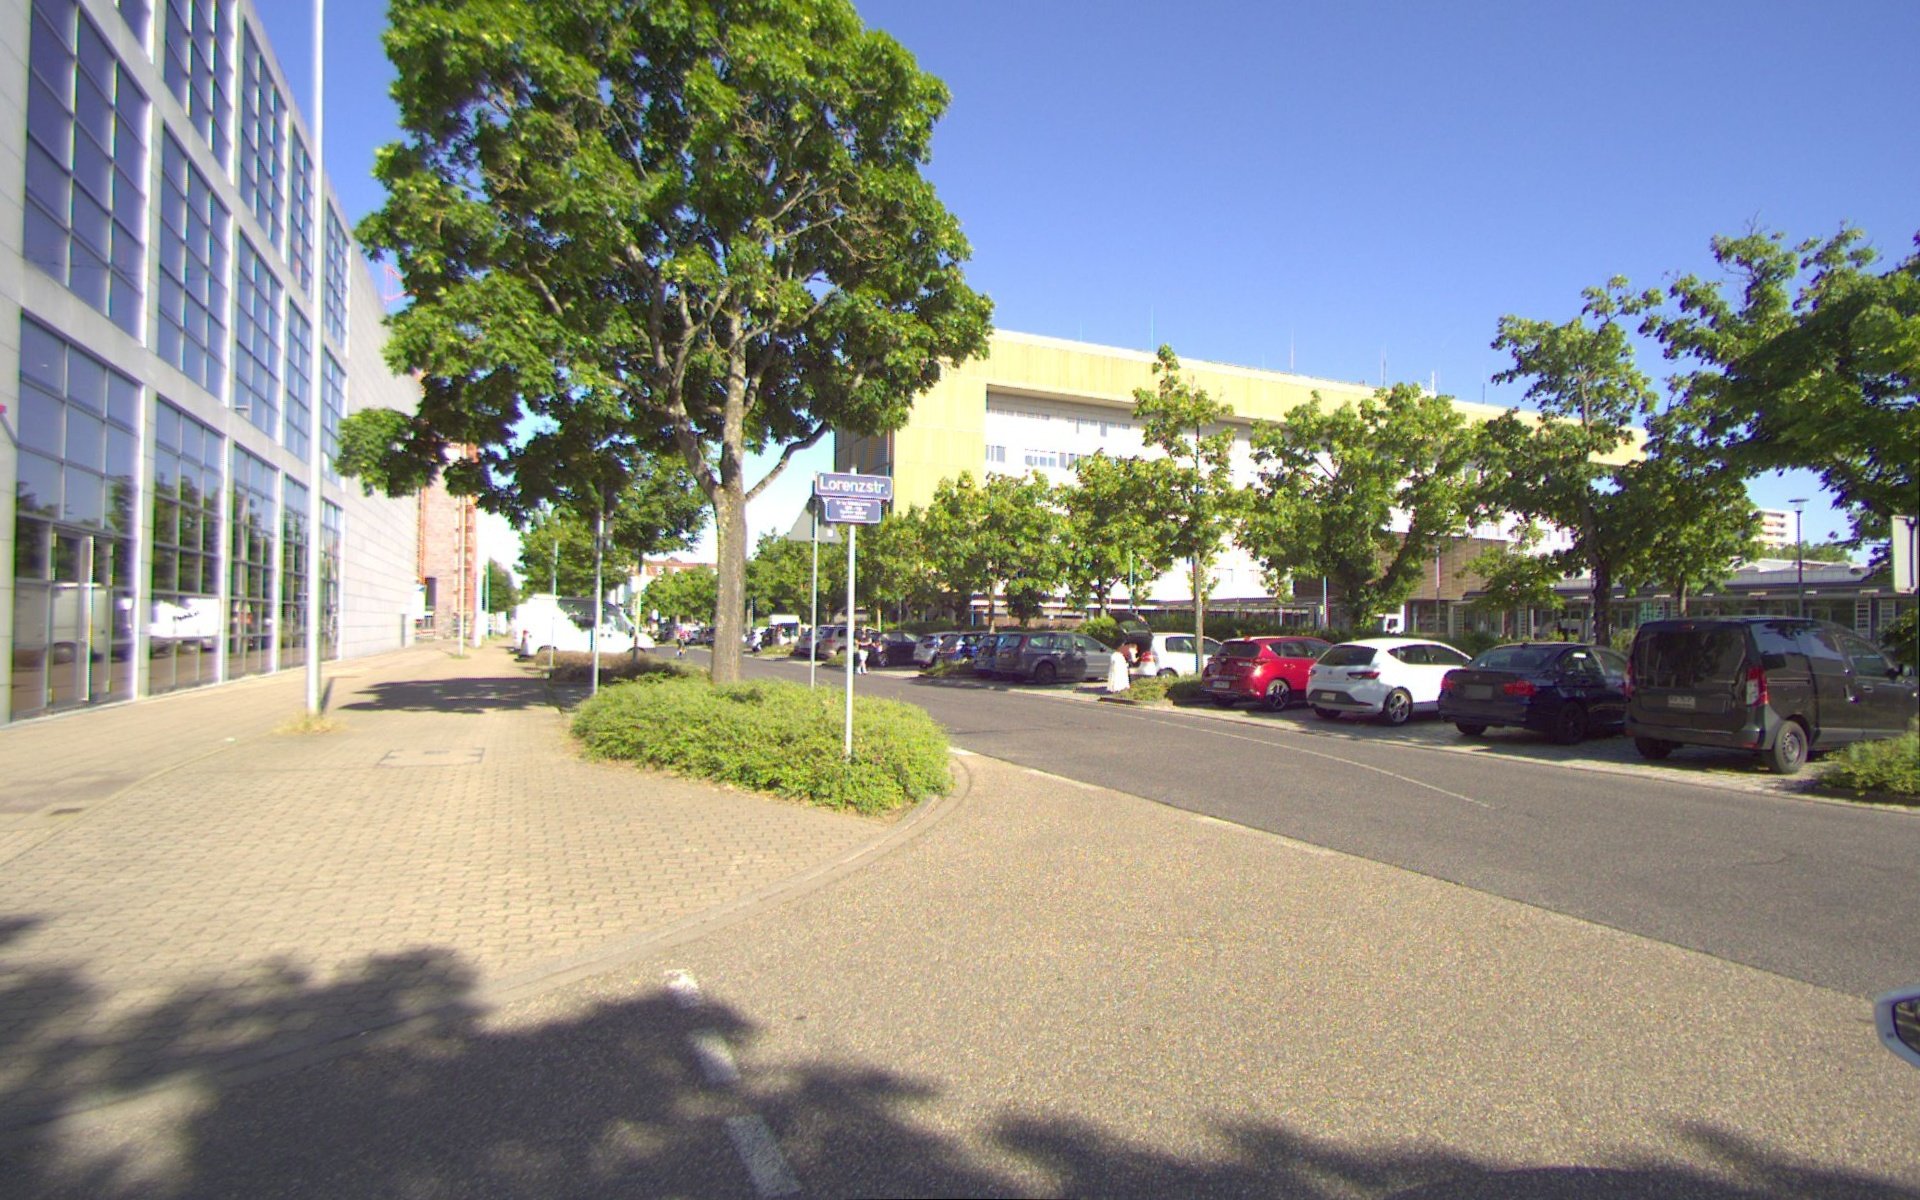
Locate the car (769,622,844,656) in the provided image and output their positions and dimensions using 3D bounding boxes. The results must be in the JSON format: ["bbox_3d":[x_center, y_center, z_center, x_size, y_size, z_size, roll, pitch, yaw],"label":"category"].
[{"bbox_3d":[-9.168,2.316,60.064,4.077,1.953,1.966,1,0,-26],"label":"car"}]

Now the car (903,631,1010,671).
[{"bbox_3d":[-0.140,1.913,38.375,3.691,1.435,1.832,1,-1,-23],"label":"car"}]

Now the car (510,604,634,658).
[{"bbox_3d":[-19.147,1.544,49.697,5.489,2.441,1.977,3,-2,-22],"label":"car"}]

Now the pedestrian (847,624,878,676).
[{"bbox_3d":[-3.470,1.776,35.744,0.711,1.794,1.161,-1,-1,-25],"label":"pedestrian"}]

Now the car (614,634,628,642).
[{"bbox_3d":[-64.076,7.132,189.666,1.969,1.494,4.084,1,-1,-26],"label":"car"}]

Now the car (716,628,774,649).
[{"bbox_3d":[-15.576,2.762,72.718,3.860,1.505,1.732,1,-1,-25],"label":"car"}]

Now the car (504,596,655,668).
[{"bbox_3d":[-14.605,1.253,38.702,5.192,2.450,2.111,4,-2,-23],"label":"car"}]

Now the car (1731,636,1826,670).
[{"bbox_3d":[38.122,2.440,46.775,3.851,1.517,1.833,1,-1,-22],"label":"car"}]

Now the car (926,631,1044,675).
[{"bbox_3d":[0.887,1.865,36.015,3.851,1.517,1.832,1,-1,-23],"label":"car"}]

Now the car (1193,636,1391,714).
[{"bbox_3d":[6.919,1.508,20.913,3.860,1.445,1.662,1,0,-26],"label":"car"}]

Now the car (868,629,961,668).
[{"bbox_3d":[-1.870,1.981,41.300,3.418,1.508,1.736,0,-2,-26],"label":"car"}]

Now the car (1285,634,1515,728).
[{"bbox_3d":[8.029,1.394,18.307,3.860,1.456,1.797,0,0,-26],"label":"car"}]

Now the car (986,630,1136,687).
[{"bbox_3d":[2.981,1.678,29.580,4.144,1.540,1.725,0,-1,-26],"label":"car"}]

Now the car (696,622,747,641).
[{"bbox_3d":[-20.581,2.736,86.673,3.944,1.603,2.020,1,-2,-24],"label":"car"}]

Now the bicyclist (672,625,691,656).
[{"bbox_3d":[-13.618,1.959,49.075,0.749,1.450,1.126,-1,-1,-22],"label":"bicyclist"}]

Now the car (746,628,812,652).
[{"bbox_3d":[-11.948,2.639,66.438,4.016,1.444,1.732,0,-2,-23],"label":"car"}]

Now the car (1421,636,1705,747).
[{"bbox_3d":[9.297,1.309,15.463,4.113,1.424,1.817,0,-1,-26],"label":"car"}]

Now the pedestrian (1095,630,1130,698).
[{"bbox_3d":[3.699,1.532,24.423,0.751,1.600,0.674,1,0,4],"label":"pedestrian"}]

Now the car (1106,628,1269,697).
[{"bbox_3d":[5.768,1.528,25.439,3.860,1.599,1.669,1,0,-26],"label":"car"}]

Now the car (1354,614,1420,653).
[{"bbox_3d":[28.544,2.229,67.186,3.593,2.524,2.221,1,-1,-22],"label":"car"}]

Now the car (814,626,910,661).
[{"bbox_3d":[-4.736,2.073,48.589,4.279,1.629,1.899,1,-1,-28],"label":"car"}]

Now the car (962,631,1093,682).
[{"bbox_3d":[2.154,1.770,31.851,3.860,1.487,1.611,1,0,-26],"label":"car"}]

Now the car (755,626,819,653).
[{"bbox_3d":[-10.708,2.437,62.216,3.570,1.570,1.696,1,0,-26],"label":"car"}]

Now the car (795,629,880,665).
[{"bbox_3d":[-6.170,2.359,50.666,3.860,1.718,1.928,1,0,-26],"label":"car"}]

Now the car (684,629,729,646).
[{"bbox_3d":[-22.804,3.347,90.396,3.726,1.478,1.807,1,-2,-25],"label":"car"}]

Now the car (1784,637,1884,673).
[{"bbox_3d":[39.047,2.440,44.873,3.851,1.517,1.833,1,-1,-22],"label":"car"}]

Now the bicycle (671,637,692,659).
[{"bbox_3d":[-13.605,2.309,49.036,0.749,1.015,1.862,-1,-1,-22],"label":"bicycle"}]

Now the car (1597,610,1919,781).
[{"bbox_3d":[10.422,1.084,12.872,4.110,1.871,1.869,0,-1,-24],"label":"car"}]
